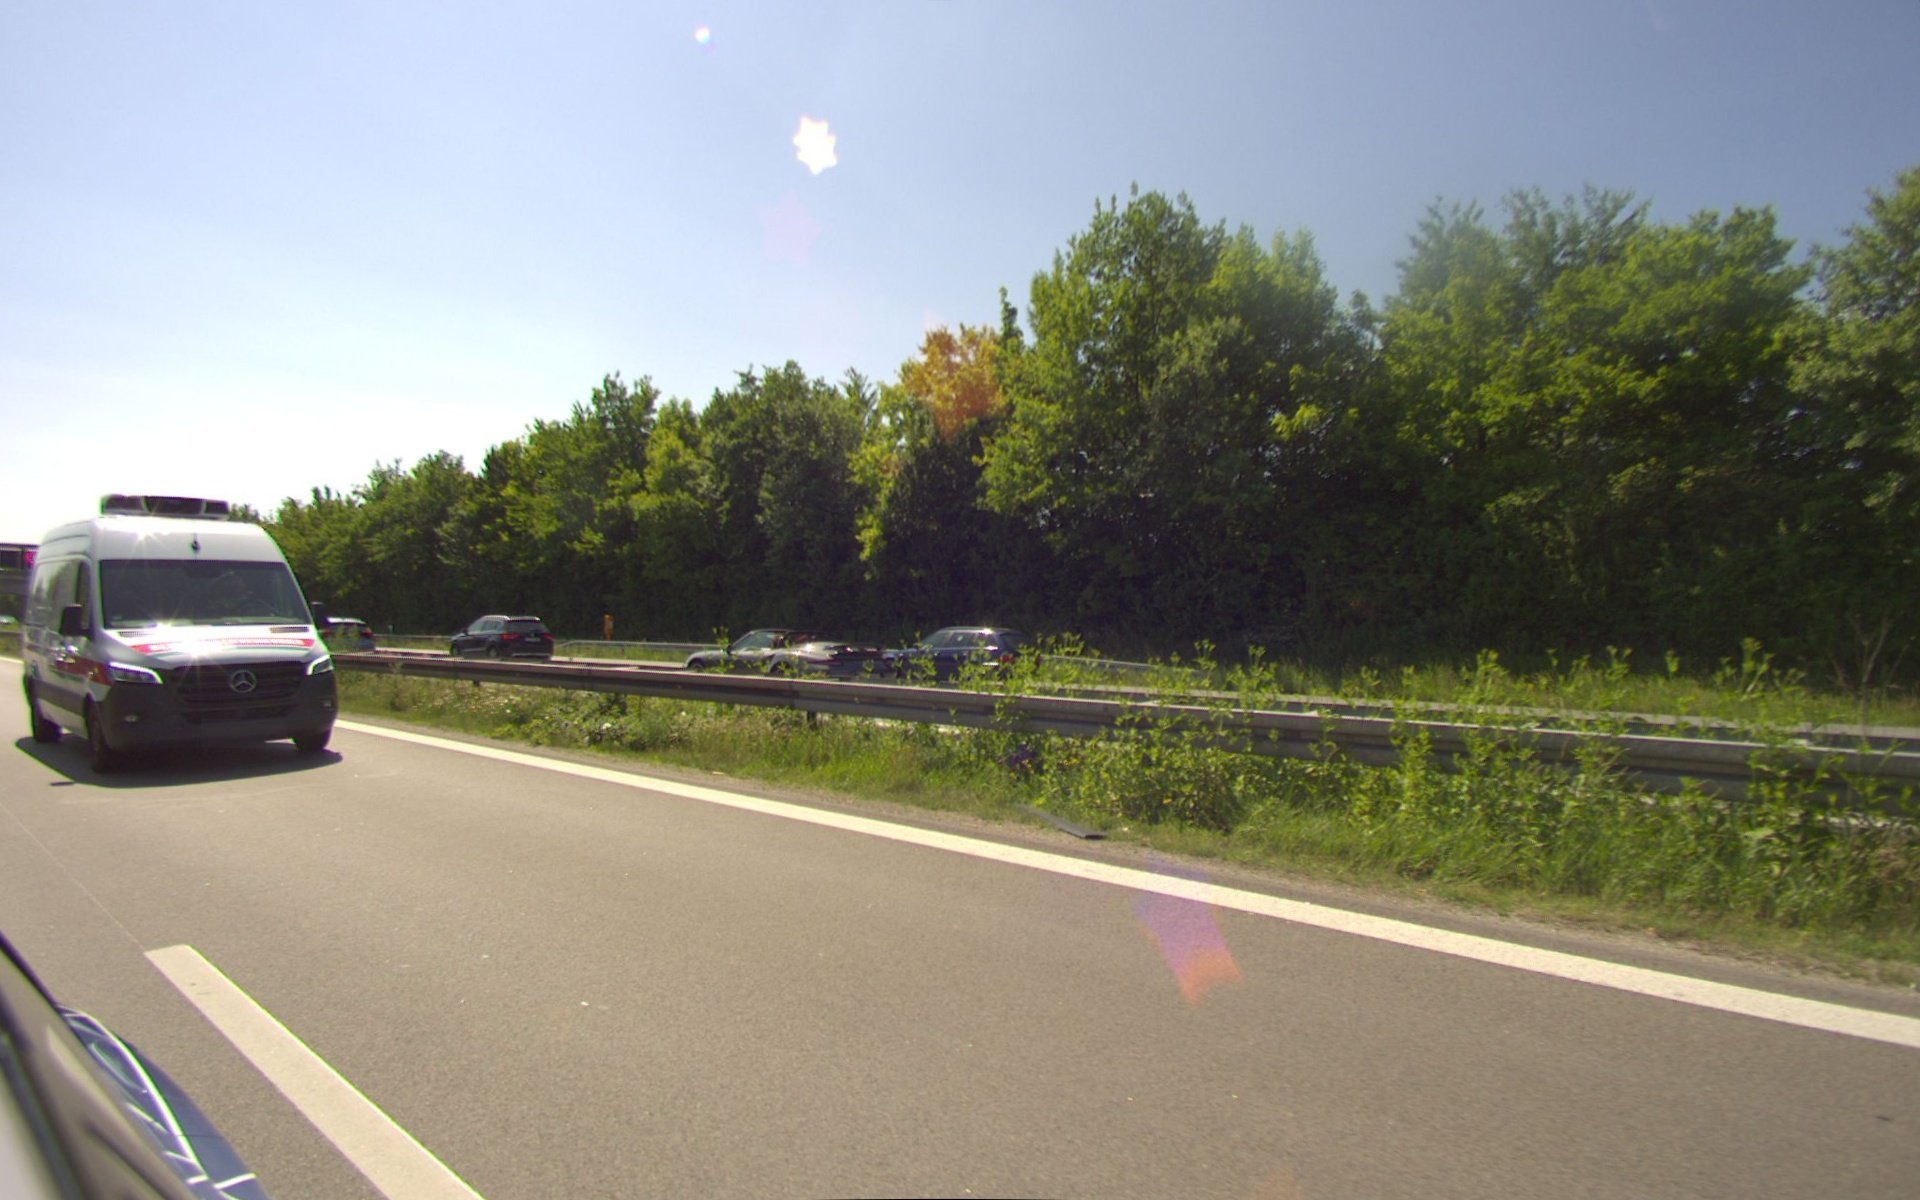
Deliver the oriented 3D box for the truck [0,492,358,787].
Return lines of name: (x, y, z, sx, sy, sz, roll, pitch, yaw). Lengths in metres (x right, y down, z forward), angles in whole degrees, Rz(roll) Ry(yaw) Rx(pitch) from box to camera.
truck: (-9.338, 0.386, 11.706, 6.686, 2.561, 1.973, -1, 0, 40)

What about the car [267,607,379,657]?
car: (-20.410, 1.012, 32.355, 4.345, 1.494, 1.933, -1, -2, 42)

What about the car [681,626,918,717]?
car: (-2.744, 1.098, 16.769, 4.119, 1.327, 1.650, -1, -2, 42)

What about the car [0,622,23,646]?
car: (-76.397, 2.715, 80.772, 5.014, 1.896, 1.673, -1, -2, 40)

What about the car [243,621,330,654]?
car: (-32.033, 1.746, 48.064, 5.619, 1.486, 1.973, -1, -2, 41)

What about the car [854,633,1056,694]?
car: (-0.231, 1.482, 24.704, 5.059, 1.307, 1.729, -1, -2, 41)

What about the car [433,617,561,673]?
car: (-14.750, 1.392, 32.166, 4.572, 1.642, 1.973, -1, -2, 41)
